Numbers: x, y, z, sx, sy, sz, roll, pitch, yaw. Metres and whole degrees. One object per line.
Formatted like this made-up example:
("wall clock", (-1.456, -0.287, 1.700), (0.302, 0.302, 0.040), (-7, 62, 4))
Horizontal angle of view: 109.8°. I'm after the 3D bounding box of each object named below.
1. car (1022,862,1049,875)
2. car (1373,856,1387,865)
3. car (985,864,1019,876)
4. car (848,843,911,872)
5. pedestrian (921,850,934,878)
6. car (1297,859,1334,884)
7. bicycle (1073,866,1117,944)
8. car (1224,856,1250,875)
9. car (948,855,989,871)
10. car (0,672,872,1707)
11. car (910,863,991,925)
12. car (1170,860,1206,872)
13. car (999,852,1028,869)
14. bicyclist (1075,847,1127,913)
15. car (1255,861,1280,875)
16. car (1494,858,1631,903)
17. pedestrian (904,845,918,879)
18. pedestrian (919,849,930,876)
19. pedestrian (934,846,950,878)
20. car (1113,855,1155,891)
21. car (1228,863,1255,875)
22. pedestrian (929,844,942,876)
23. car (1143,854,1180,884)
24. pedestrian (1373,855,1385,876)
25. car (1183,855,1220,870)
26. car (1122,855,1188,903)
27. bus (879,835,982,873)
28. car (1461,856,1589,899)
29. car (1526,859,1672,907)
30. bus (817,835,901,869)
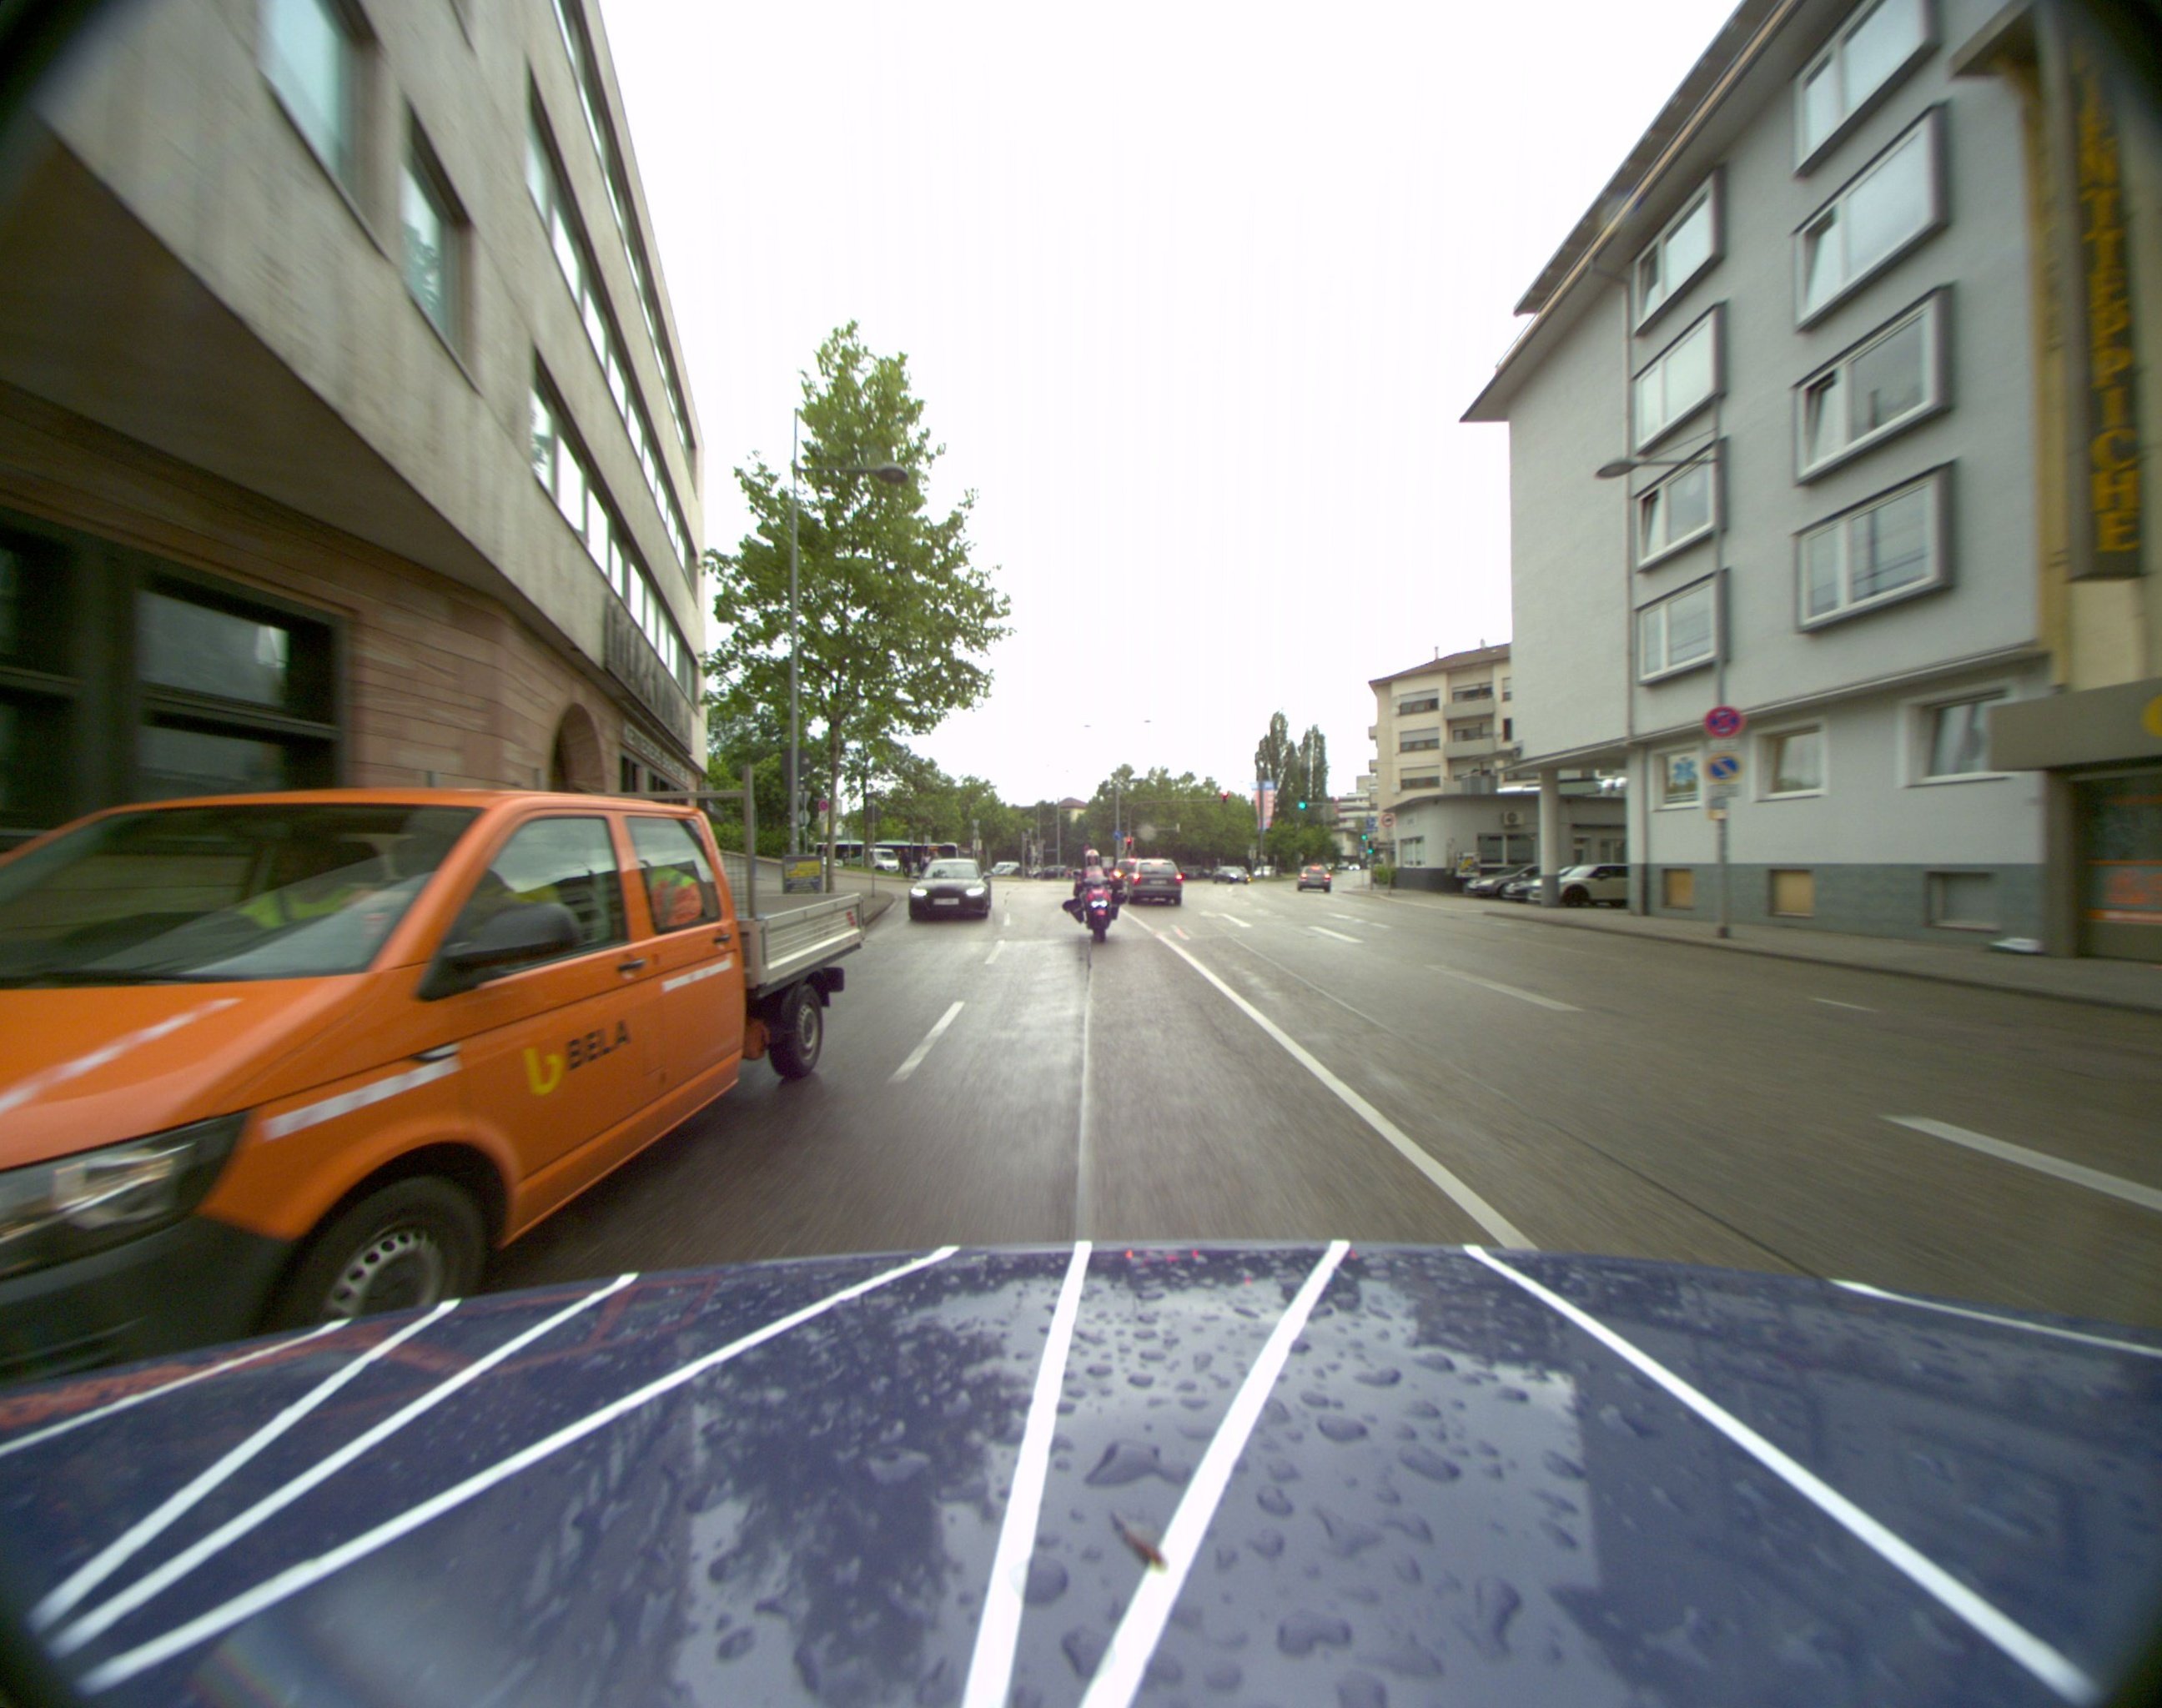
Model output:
("car", (-5.997, 1.933, 101.053), (1.758, 1.581, 4.008), (1, -1, 28))
("car", (48.607, 1.020, 123.517), (1.677, 1.384, 4.160), (2, 0, 25))
("car", (-9.245, 1.836, 88.979), (1.852, 1.431, 4.271), (0, -1, 28))
("car", (-16.561, 0.268, 62.192), (2.260, 2.221, 6.323), (0, 0, -42))
("pedestrian", (-8.917, 0.572, 44.114), (0.603, 1.590, 0.705), (3, 1, -19))
("car", (13.190, 1.020, 42.913), (1.731, 1.358, 4.116), (0, -2, 14))
("bicycle", (0.303, 0.918, 14.540), (0.717, 1.298, 2.428), (-1, 1, 3))
("car", (13.016, 0.941, 63.485), (1.802, 1.425, 4.399), (-2, 0, 8))
("car", (-10.435, 0.838, 70.388), (3.559, 1.442, 1.594), (-1, -2, 29))
("car", (-2.961, 0.731, 3.921), (2.107, 2.077, 5.541), (-2, 0, 1))
("car", (-3.403, 0.988, 20.472), (1.898, 1.396, 4.358), (1, 0, -7))
("car", (15.279, 1.724, 108.771), (4.742, 1.396, 1.866), (-4, -2, 32))
("car", (-9.786, 0.966, 111.091), (1.968, 2.305, 5.023), (1, -1, 25))
("bicyclist", (0.387, 0.507, 14.467), (0.962, 1.218, 0.715), (-1, -4, 3))
("car", (21.555, 1.597, 87.625), (1.893, 1.566, 4.369), (1, 0, 26))
("car", (17.053, 0.912, 27.059), (3.765, 1.412, 1.638), (2, 0, 2))
("pedestrian", (-8.811, 0.399, 39.351), (0.573, 1.677, 0.962), (3, 1, -18))
("pedestrian", (-9.947, 0.520, 48.339), (0.559, 1.695, 0.527), (2, 0, -23))
("pedestrian", (-8.089, 0.486, 44.185), (0.744, 1.819, 0.693), (3, 0, -18))
("car", (2.259, 0.792, 32.711), (1.647, 1.445, 3.991), (0, 0, 3))
("car", (20.593, 1.861, 97.280), (1.892, 1.479, 4.370), (1, 0, 33))
("pedestrian", (-9.265, 0.363, 48.444), (0.589, 2.001, 0.786), (2, 0, -23))
("car", (4.752, 0.865, 44.378), (1.758, 1.605, 4.216), (0, -1, 12))
("pedestrian", (25.292, 0.944, 64.457), (0.778, 1.718, 0.662), (-5, -3, 30))
("car", (17.689, 1.275, 111.796), (4.839, 1.931, 1.954), (-4, -2, 32))
("car", (2.372, 0.756, 25.357), (1.737, 1.431, 4.412), (0, 0, -1))
("bus", (-13.593, -0.064, 68.370), (9.631, 3.197, 2.711), (1, -1, 31))
("car", (17.169, 0.885, 29.527), (3.821, 1.413, 1.797), (2, 2, 2))
("car", (16.569, 0.912, 24.394), (3.632, 1.330, 1.495), (2, 0, 0))
("bus", (-21.380, -0.195, 72.974), (8.536, 3.162, 2.693), (0, 1, 31))
